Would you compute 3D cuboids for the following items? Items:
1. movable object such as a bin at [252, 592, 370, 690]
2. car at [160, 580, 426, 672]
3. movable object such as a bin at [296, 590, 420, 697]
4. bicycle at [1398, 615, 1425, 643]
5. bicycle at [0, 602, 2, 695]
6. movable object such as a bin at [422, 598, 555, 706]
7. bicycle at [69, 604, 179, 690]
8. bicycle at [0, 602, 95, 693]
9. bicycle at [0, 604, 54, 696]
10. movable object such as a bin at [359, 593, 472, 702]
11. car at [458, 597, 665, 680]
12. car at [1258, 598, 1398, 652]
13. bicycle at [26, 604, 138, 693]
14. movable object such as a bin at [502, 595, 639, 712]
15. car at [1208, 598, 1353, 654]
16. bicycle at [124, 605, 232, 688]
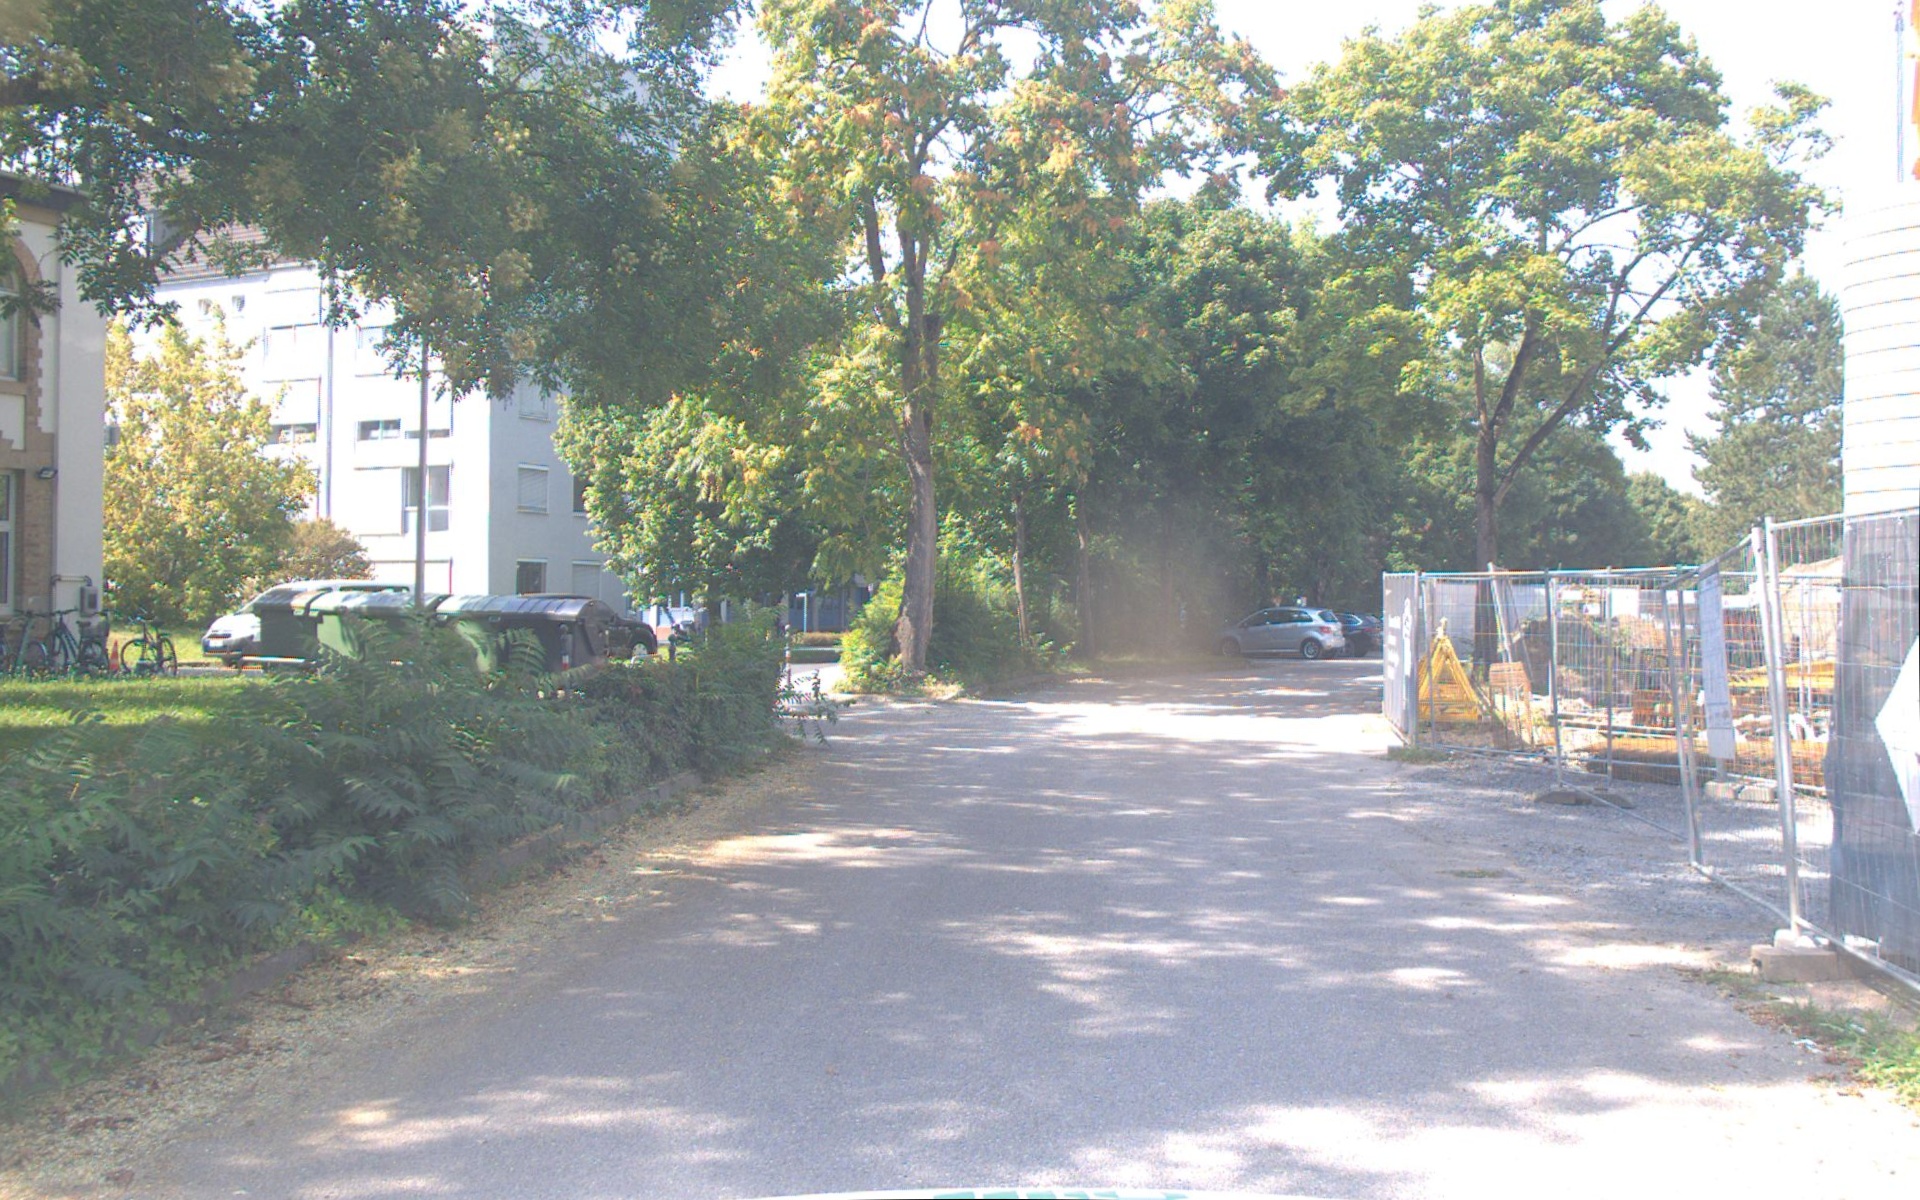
[{"bbox_3d":[-10.203,0.633,26.026,1.179,1.469,1.249,1,0,24],"label":"movable object such as a bin"},{"bbox_3d":[-14.824,0.552,37.074,2.449,1.914,5.071,0,0,32],"label":"car"},{"bbox_3d":[-8.993,0.637,24.743,1.179,1.522,1.249,1,0,24],"label":"movable object such as a bin"},{"bbox_3d":[18.724,1.191,68.614,0.490,1.127,1.794,1,0,35],"label":"bicycle"},{"bbox_3d":[-14.742,0.703,23.986,2.128,1.325,0.607,-1,-1,34],"label":"bicycle"},{"bbox_3d":[-6.697,0.716,23.548,1.301,1.457,1.249,1,0,23],"label":"movable object such as a bin"},{"bbox_3d":[-13.315,0.742,26.319,2.128,1.325,0.607,-1,-1,34],"label":"bicycle"},{"bbox_3d":[-14.024,0.711,25.147,2.128,1.325,0.607,-1,-1,34],"label":"bicycle"},{"bbox_3d":[-14.297,0.729,24.509,2.128,1.325,0.607,-1,-1,34],"label":"bicycle"},{"bbox_3d":[-7.864,0.673,23.906,1.076,1.507,1.100,1,0,24],"label":"movable object such as a bin"},{"bbox_3d":[-7.908,0.737,33.100,1.673,1.554,3.897,0,0,36],"label":"car"},{"bbox_3d":[12.074,0.804,54.339,4.072,1.641,1.995,1,0,32],"label":"car"},{"bbox_3d":[-13.674,0.742,25.738,2.128,1.325,0.607,-1,-1,34],"label":"bicycle"},{"bbox_3d":[-5.343,0.712,22.774,1.339,1.519,1.336,1,0,16],"label":"movable object such as a bin"},{"bbox_3d":[10.142,0.795,52.400,4.072,1.641,1.995,1,0,32],"label":"car"},{"bbox_3d":[-12.885,0.752,27.223,2.128,1.325,0.607,-1,-1,34],"label":"bicycle"}]
